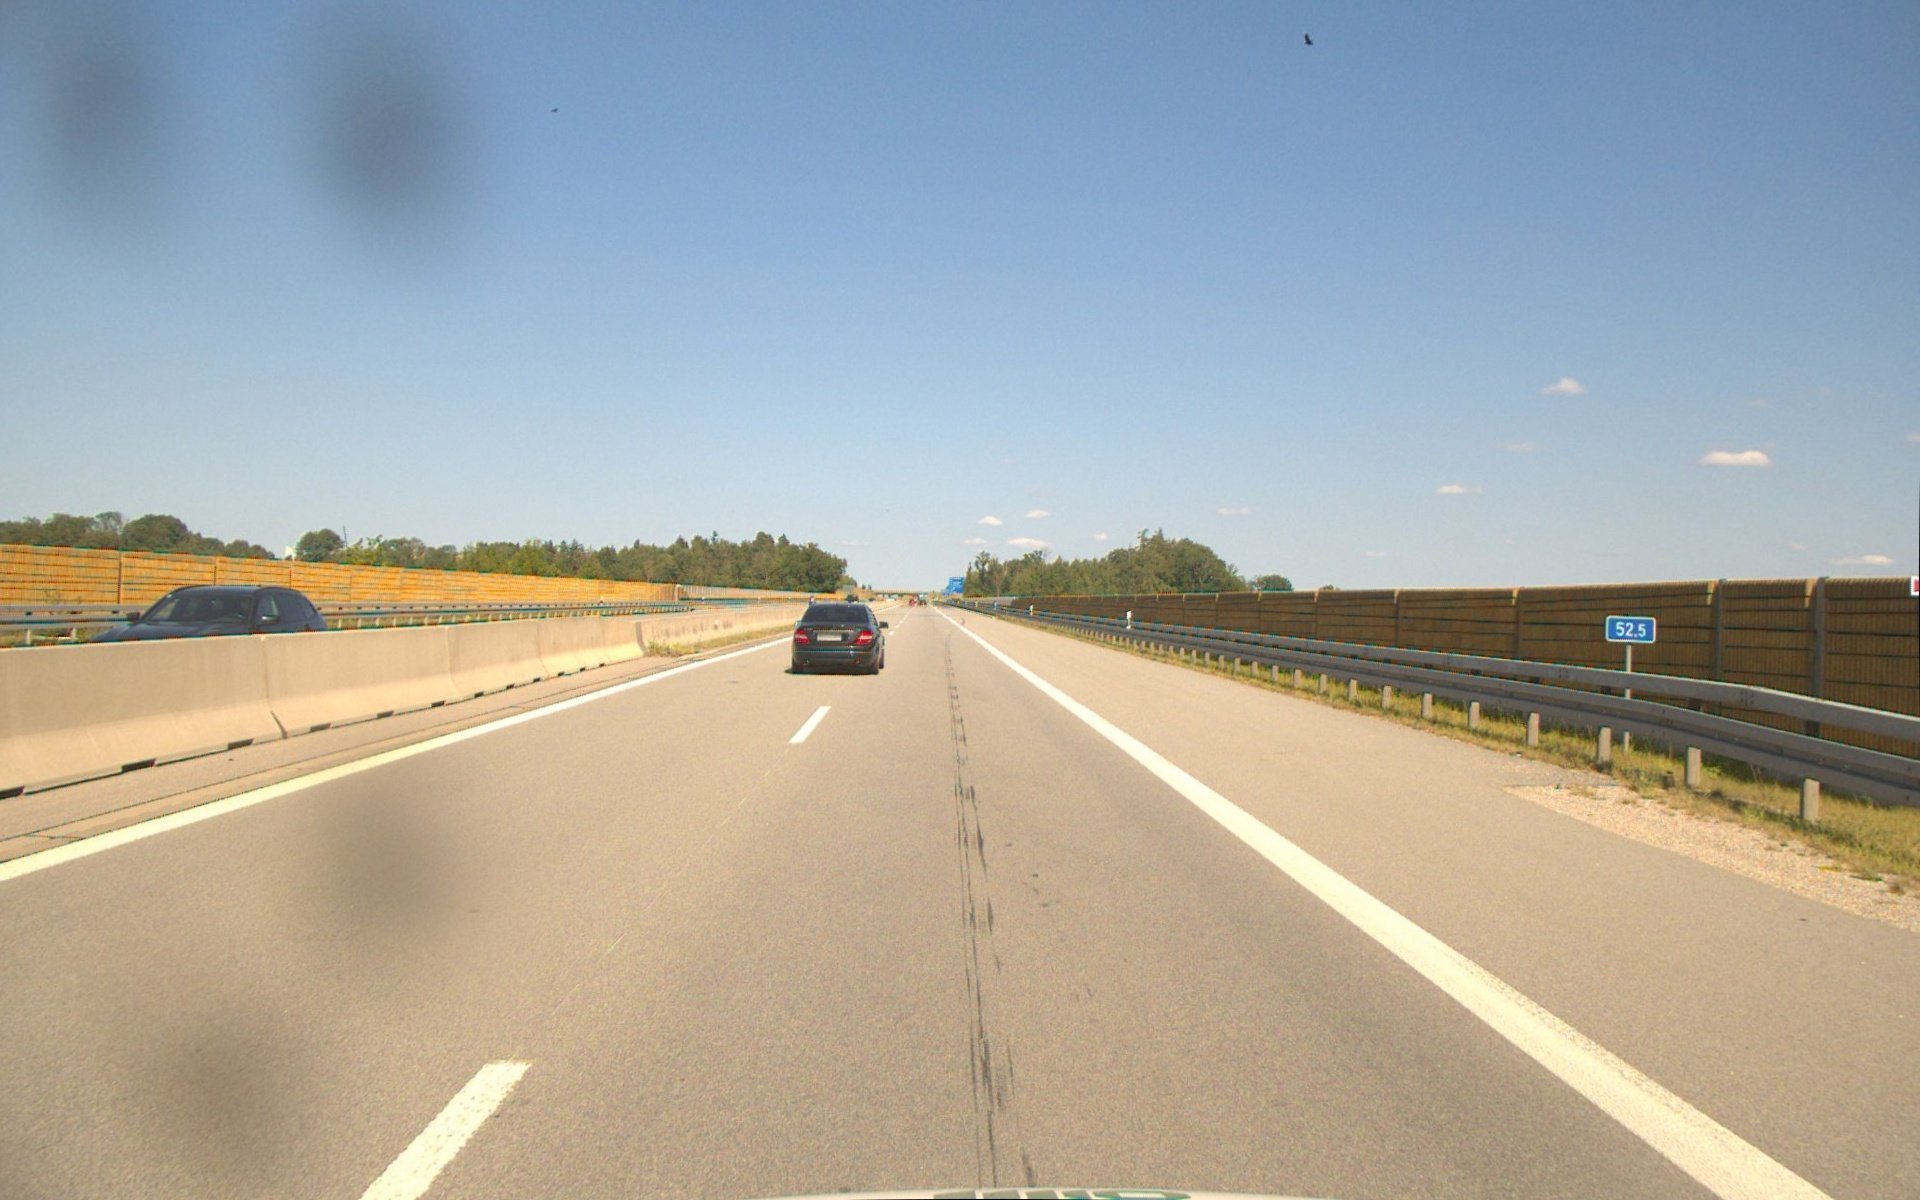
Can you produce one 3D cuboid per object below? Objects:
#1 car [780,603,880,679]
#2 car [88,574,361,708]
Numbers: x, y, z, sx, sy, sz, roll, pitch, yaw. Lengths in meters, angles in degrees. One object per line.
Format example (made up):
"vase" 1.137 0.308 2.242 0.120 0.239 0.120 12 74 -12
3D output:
"car" -2.563 0.779 33.410 1.754 1.398 3.916 1 0 -1
"car" -9.890 0.506 22.676 1.760 1.621 4.657 1 0 -2
